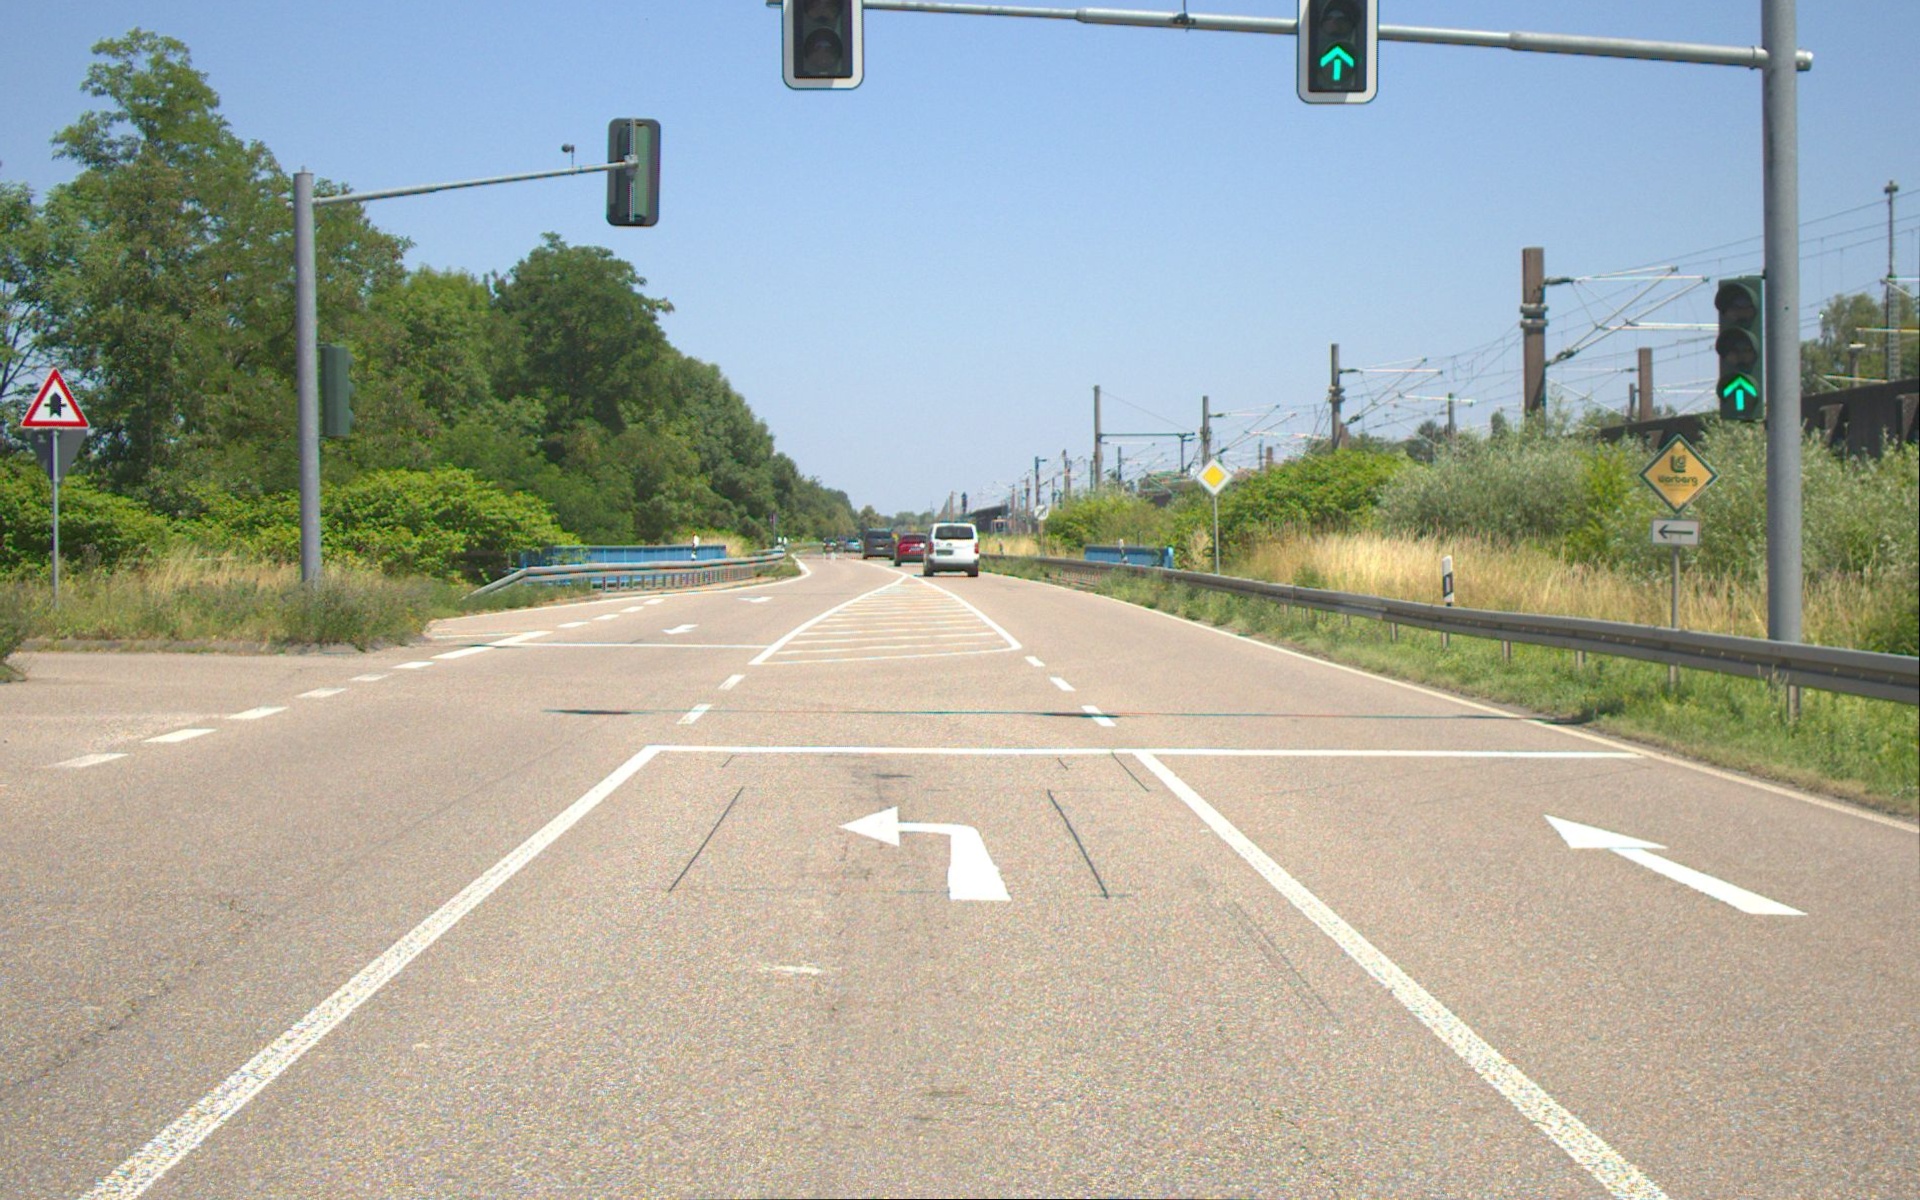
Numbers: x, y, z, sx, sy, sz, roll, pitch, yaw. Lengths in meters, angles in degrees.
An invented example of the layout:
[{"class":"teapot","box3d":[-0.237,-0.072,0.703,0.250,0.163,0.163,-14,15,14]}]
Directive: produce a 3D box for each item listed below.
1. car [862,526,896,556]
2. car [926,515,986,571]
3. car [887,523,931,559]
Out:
[{"class":"car","box3d":[-5.342,-3.871,225.962,2.154,1.961,4.543,1,1,-3]},{"class":"car","box3d":[-0.157,-2.074,124.167,1.993,1.977,4.060,1,1,-2]},{"class":"car","box3d":[-2.540,-2.895,169.016,2.019,1.720,4.543,1,1,-3]}]
